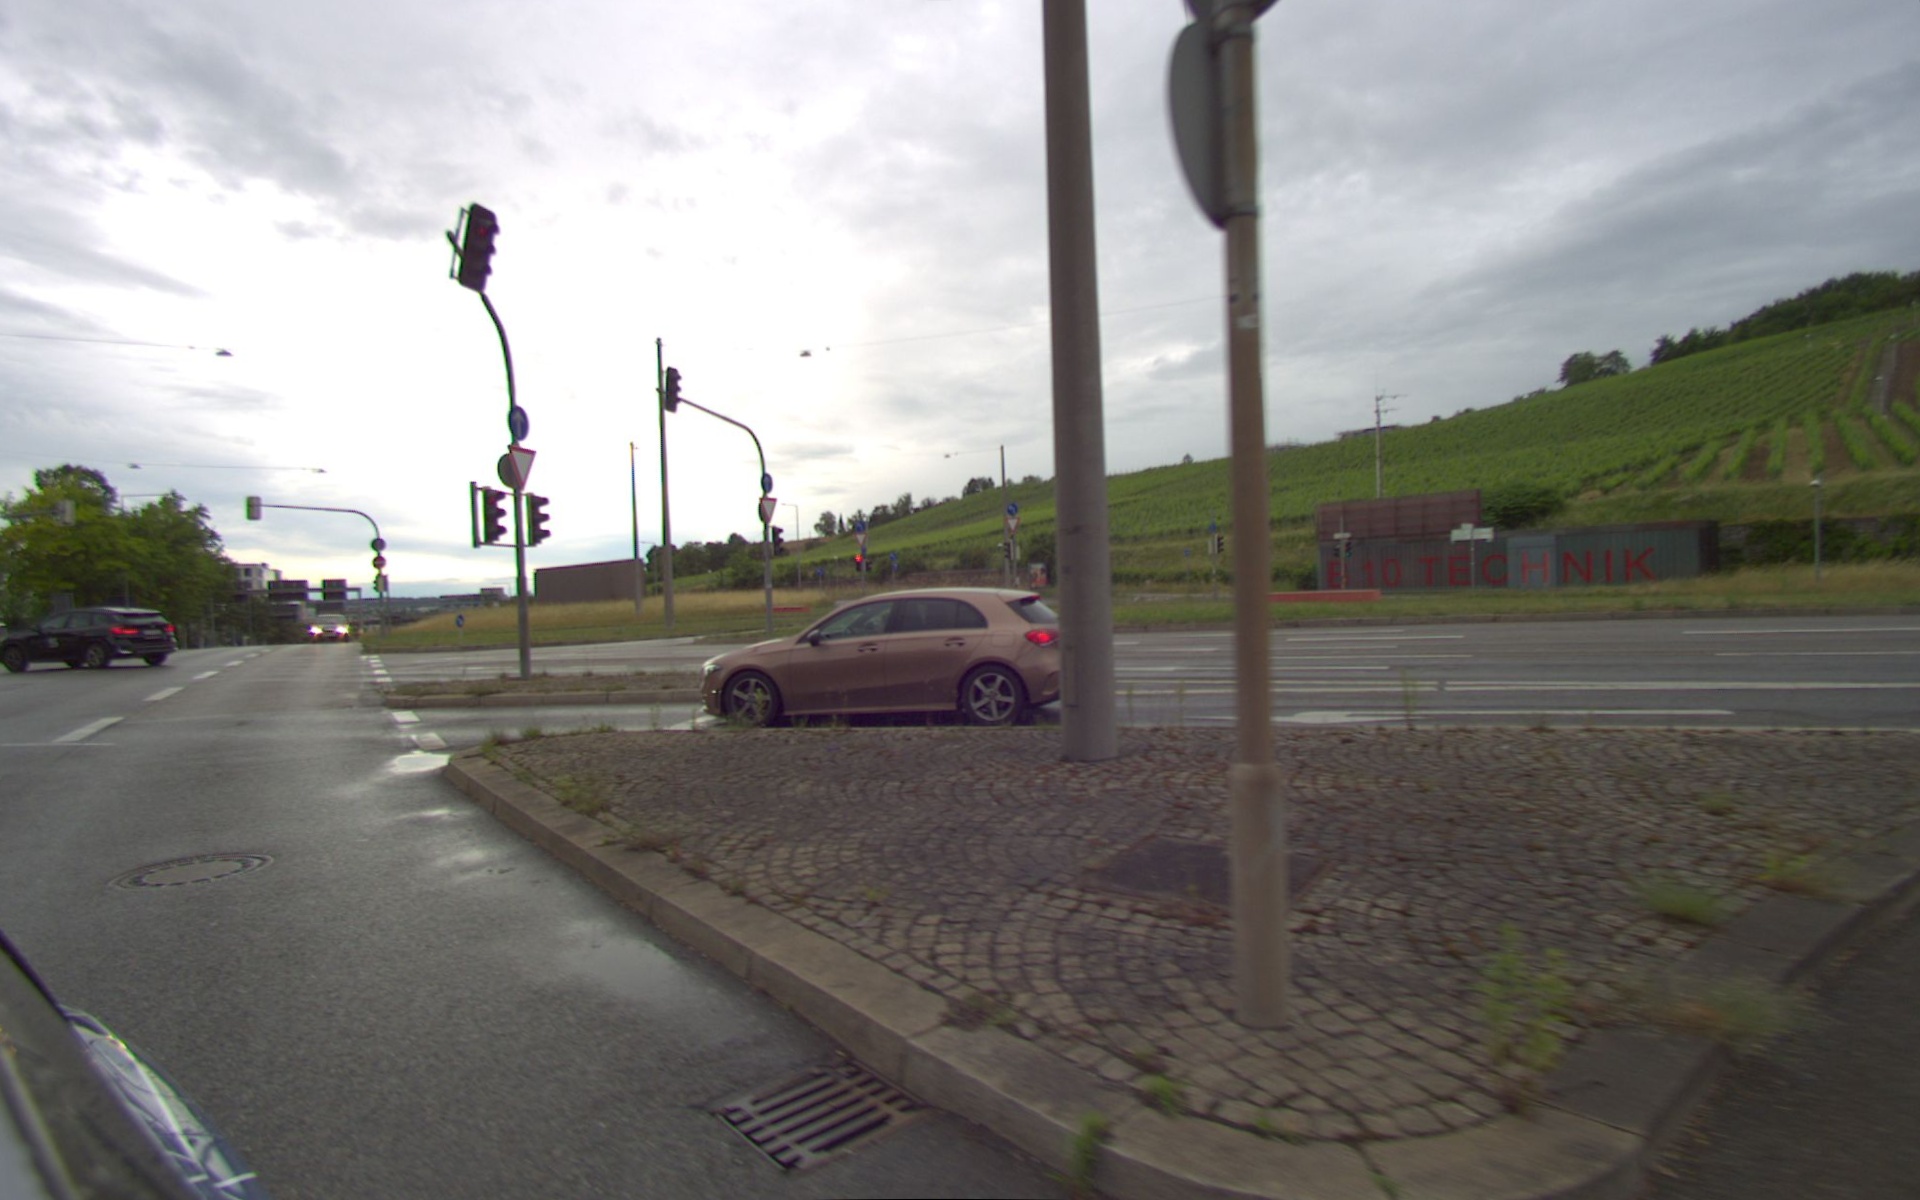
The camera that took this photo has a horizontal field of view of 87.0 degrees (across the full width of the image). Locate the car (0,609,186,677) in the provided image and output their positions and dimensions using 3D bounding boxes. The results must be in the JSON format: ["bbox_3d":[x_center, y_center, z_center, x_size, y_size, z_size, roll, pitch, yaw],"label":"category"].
[{"bbox_3d":[-23.684,1.159,27.464,4.291,1.608,1.735,-2,1,9],"label":"car"}]

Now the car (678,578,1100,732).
[{"bbox_3d":[-0.735,0.596,11.218,4.302,1.472,1.730,-2,1,16],"label":"car"}]

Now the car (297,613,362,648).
[{"bbox_3d":[-32.292,1.507,51.957,1.767,1.600,3.917,-2,1,-16],"label":"car"}]
